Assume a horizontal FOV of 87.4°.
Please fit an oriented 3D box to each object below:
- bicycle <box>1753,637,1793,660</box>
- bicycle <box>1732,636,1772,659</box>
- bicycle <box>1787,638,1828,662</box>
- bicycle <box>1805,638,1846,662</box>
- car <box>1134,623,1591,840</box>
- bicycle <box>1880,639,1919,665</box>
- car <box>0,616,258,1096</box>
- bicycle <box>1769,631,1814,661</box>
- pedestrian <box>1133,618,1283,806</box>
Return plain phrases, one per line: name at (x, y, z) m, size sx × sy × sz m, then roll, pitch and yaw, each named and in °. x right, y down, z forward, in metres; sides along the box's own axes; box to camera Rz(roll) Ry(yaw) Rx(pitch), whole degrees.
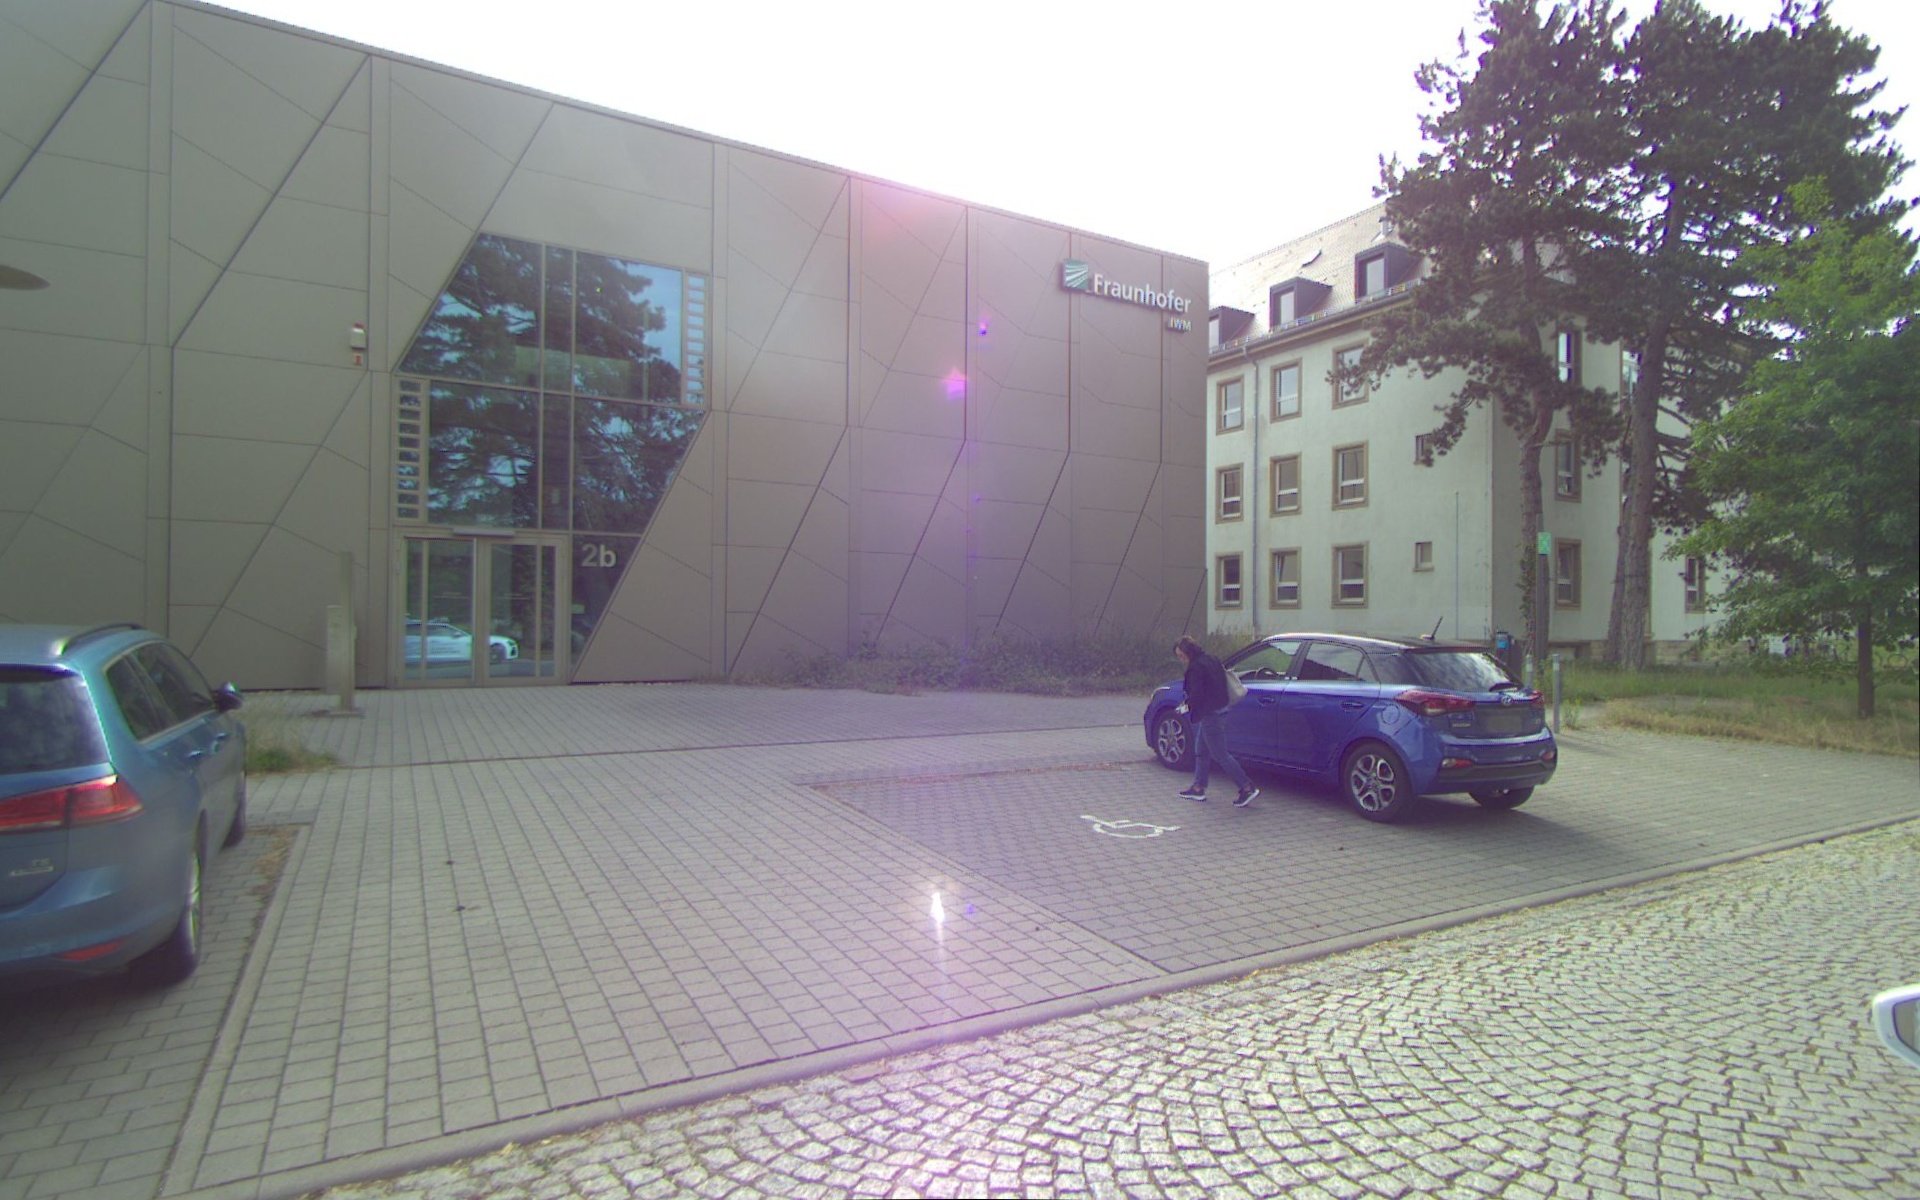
bicycle at (38.888, 2.314, 48.064) m, size 2.246 × 1.090 × 0.732 m, roll 1°, pitch -1°, yaw -30°
bicycle at (38.157, 2.288, 48.380) m, size 2.246 × 1.090 × 0.732 m, roll 1°, pitch -1°, yaw -30°
bicycle at (39.239, 2.295, 46.482) m, size 2.246 × 1.090 × 0.732 m, roll 1°, pitch -1°, yaw -30°
bicycle at (39.617, 2.280, 45.963) m, size 2.246 × 1.090 × 0.732 m, roll 1°, pitch -1°, yaw -30°
car at (3.528, 1.027, 9.512) m, size 1.828 × 1.497 × 3.752 m, roll 1°, pitch 0°, yaw -27°
bicycle at (40.214, 2.198, 42.410) m, size 0.821 × 1.090 × 1.849 m, roll 1°, pitch -2°, yaw -27°
car at (-4.567, 0.853, 4.822) m, size 1.755 × 1.447 × 4.280 m, roll 1°, pitch 0°, yaw -33°
bicycle at (39.183, 2.165, 47.312) m, size 2.679 × 1.404 × 0.732 m, roll 1°, pitch -1°, yaw -30°
pedestrian at (2.154, 0.932, 8.788) m, size 0.808 × 1.514 × 0.979 m, roll 2°, pitch -1°, yaw -28°
